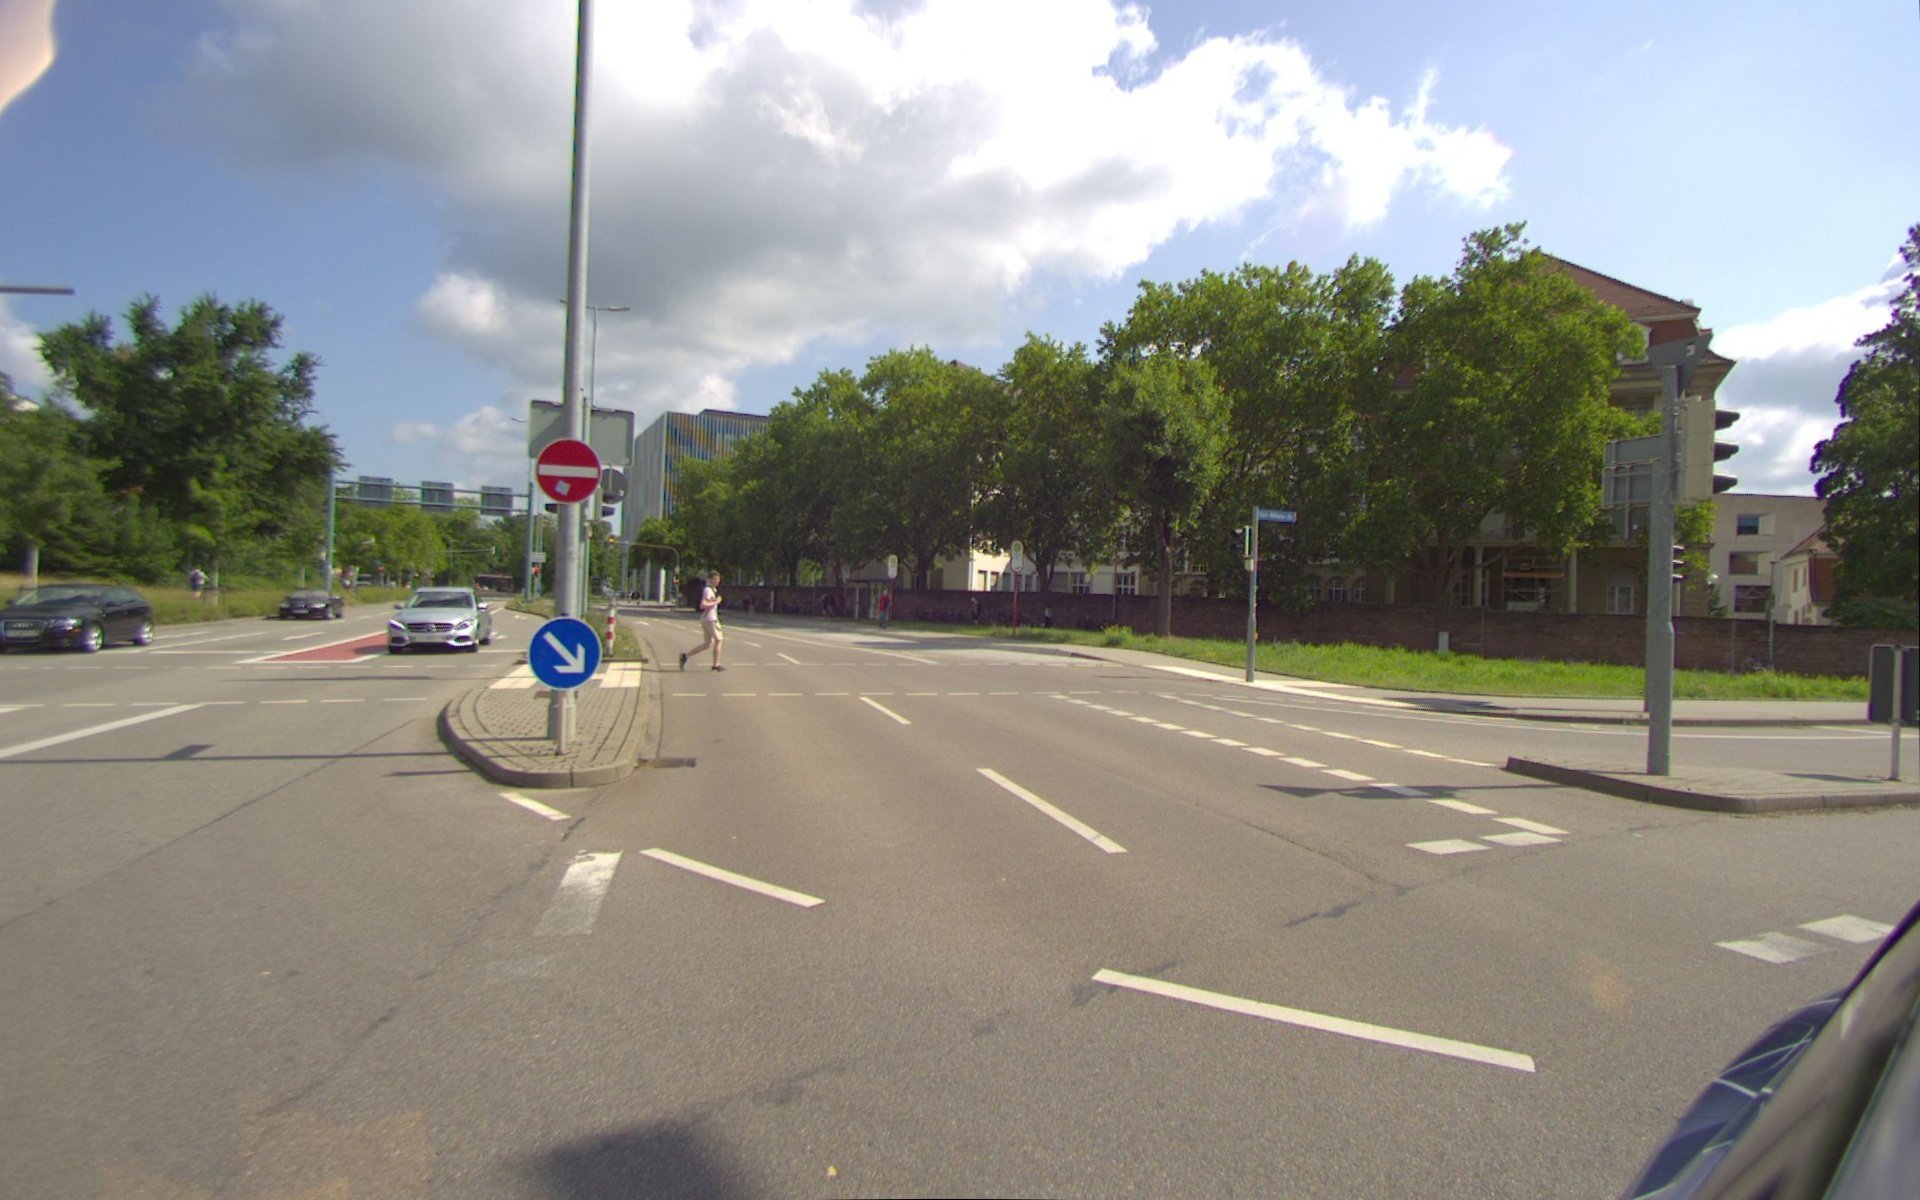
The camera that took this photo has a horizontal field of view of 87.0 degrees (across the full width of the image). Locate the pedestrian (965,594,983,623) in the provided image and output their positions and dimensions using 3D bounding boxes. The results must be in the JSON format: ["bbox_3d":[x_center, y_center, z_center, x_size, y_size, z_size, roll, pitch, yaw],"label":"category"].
[{"bbox_3d":[0.835,0.507,60.452,0.652,1.744,0.741,3,-1,-44],"label":"pedestrian"}]

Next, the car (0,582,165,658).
[{"bbox_3d":[-18.855,0.363,21.411,1.958,1.395,4.169,3,0,-21],"label":"car"}]

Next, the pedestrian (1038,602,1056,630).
[{"bbox_3d":[5.003,0.902,58.046,0.722,1.553,0.714,1,0,44],"label":"pedestrian"}]

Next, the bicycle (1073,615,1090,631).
[{"bbox_3d":[6.867,1.323,57.241,0.481,0.859,0.958,2,-1,43],"label":"bicycle"}]

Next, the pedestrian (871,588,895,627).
[{"bbox_3d":[-3.678,0.349,48.379,0.735,1.802,0.966,2,0,-33],"label":"pedestrian"}]

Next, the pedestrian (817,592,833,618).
[{"bbox_3d":[-9.674,0.337,72.625,0.868,1.802,0.772,1,0,-25],"label":"pedestrian"}]

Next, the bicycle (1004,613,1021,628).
[{"bbox_3d":[3.183,1.241,60.870,0.481,0.859,0.958,2,-1,43],"label":"bicycle"}]

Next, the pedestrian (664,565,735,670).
[{"bbox_3d":[-4.772,0.330,18.517,1.156,1.881,0.700,2,-2,-21],"label":"pedestrian"}]

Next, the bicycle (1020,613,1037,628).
[{"bbox_3d":[4.053,1.227,59.984,0.481,0.859,0.958,2,-1,43],"label":"bicycle"}]

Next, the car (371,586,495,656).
[{"bbox_3d":[-12.289,0.410,23.895,2.019,1.460,4.790,0,1,-20],"label":"car"}]

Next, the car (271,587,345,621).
[{"bbox_3d":[-27.119,0.139,42.222,1.760,1.288,4.009,2,0,-21],"label":"car"}]

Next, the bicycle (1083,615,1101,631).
[{"bbox_3d":[7.410,1.299,56.828,0.481,0.859,0.958,2,-1,43],"label":"bicycle"}]

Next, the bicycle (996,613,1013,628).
[{"bbox_3d":[2.702,1.247,61.306,0.481,0.859,0.958,2,-1,43],"label":"bicycle"}]

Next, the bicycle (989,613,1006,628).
[{"bbox_3d":[2.289,1.250,61.674,0.481,0.859,0.958,2,-1,43],"label":"bicycle"}]

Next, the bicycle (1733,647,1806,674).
[{"bbox_3d":[32.280,2.412,40.389,2.034,0.871,0.853,3,2,19],"label":"bicycle"}]

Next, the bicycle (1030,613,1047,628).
[{"bbox_3d":[4.615,1.224,59.509,0.481,0.859,0.958,2,-1,43],"label":"bicycle"}]

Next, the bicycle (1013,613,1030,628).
[{"bbox_3d":[3.683,1.235,60.413,0.481,0.859,0.958,2,-1,43],"label":"bicycle"}]

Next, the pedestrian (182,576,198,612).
[{"bbox_3d":[-39.228,-0.283,51.559,0.531,1.791,0.525,3,-3,-29],"label":"pedestrian"}]

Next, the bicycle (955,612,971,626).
[{"bbox_3d":[0.205,1.209,63.709,0.481,0.859,0.958,2,-1,43],"label":"bicycle"}]
